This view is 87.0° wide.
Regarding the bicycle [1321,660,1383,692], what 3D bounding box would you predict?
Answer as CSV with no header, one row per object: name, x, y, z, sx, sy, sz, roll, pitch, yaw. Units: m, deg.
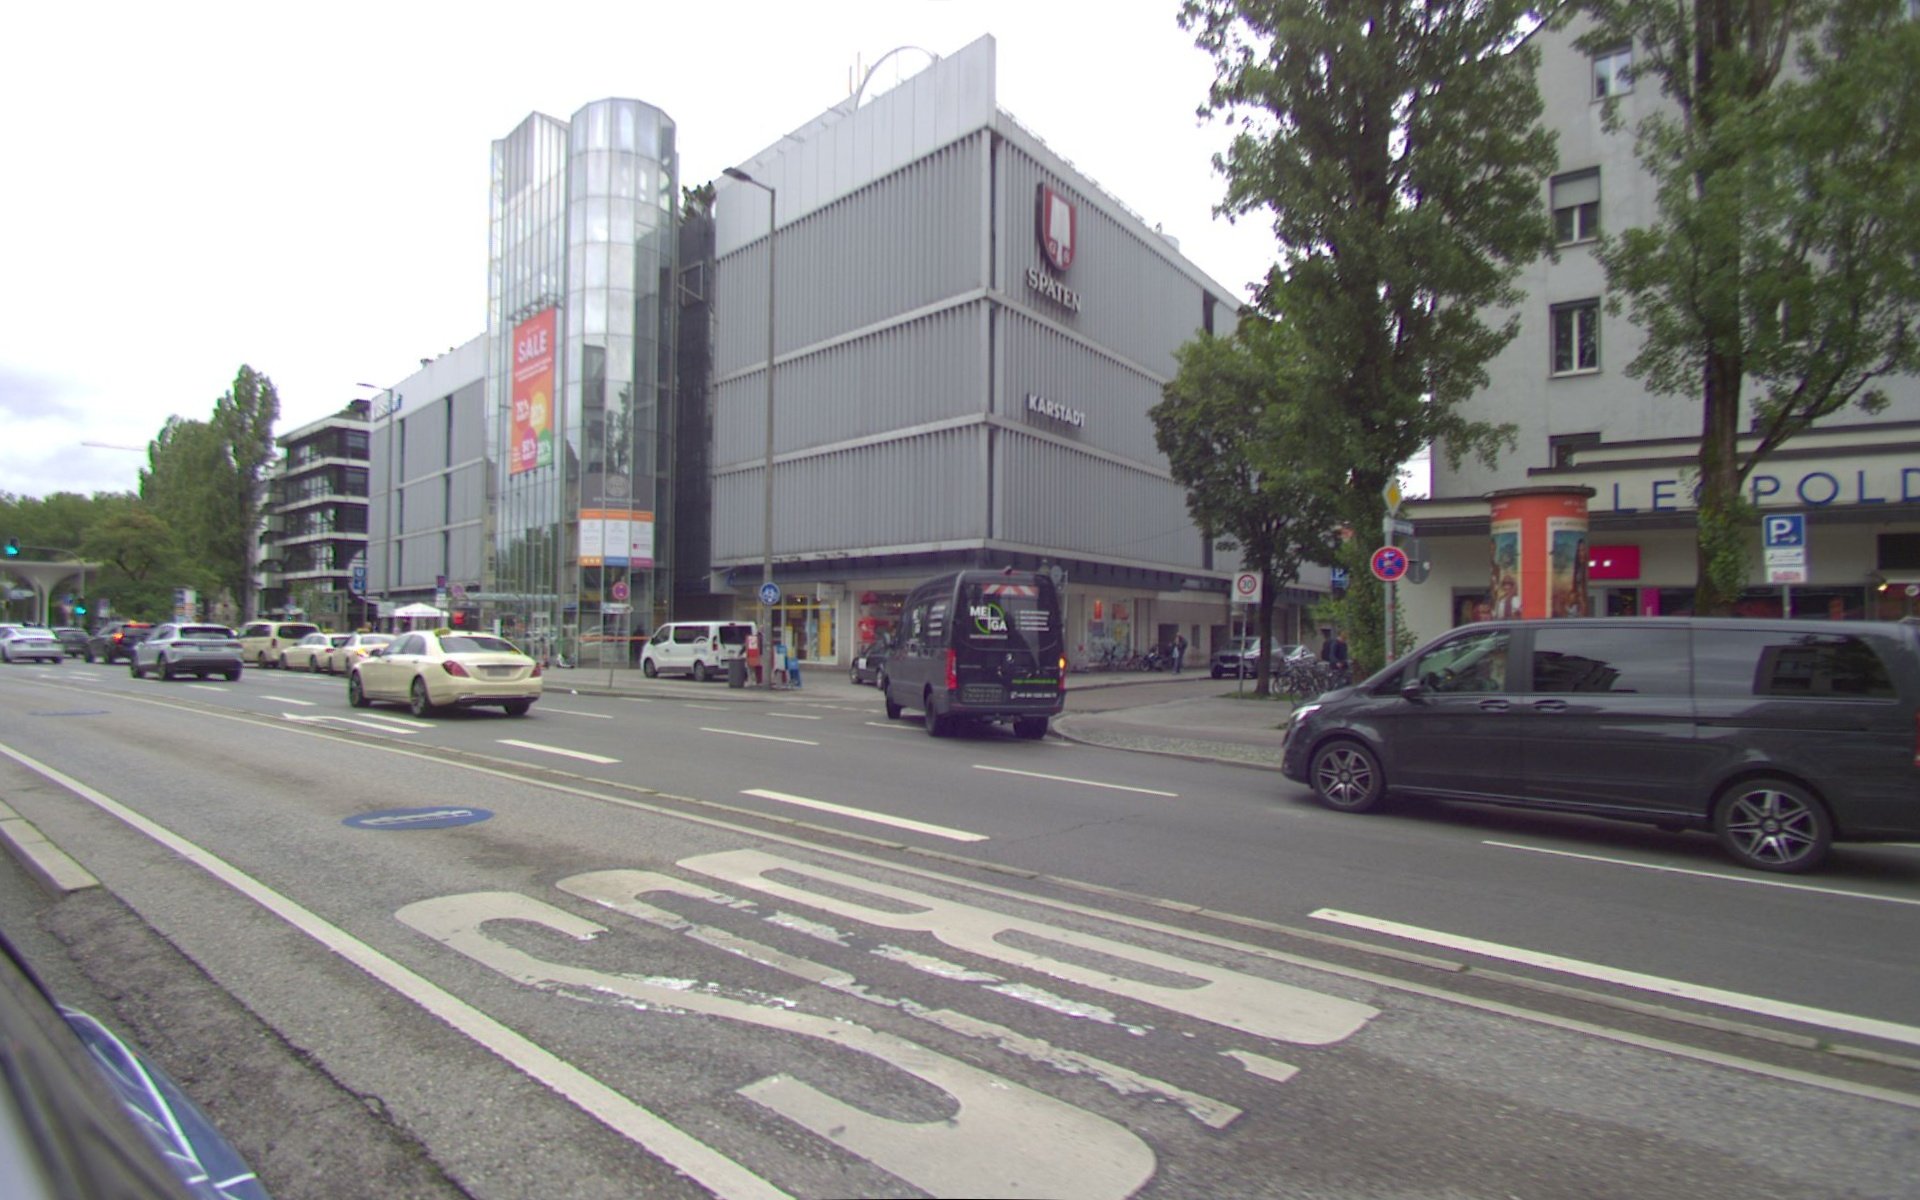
bicycle,13.047,2.521,33.742,1.879,0.971,0.454,-1,-3,40

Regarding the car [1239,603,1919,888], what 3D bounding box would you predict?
car,5.546,1.070,8.978,1.970,1.878,5.715,5,-5,-44

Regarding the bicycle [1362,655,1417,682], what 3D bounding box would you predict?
bicycle,16.419,2.620,38.720,1.879,0.971,0.454,-1,-3,40

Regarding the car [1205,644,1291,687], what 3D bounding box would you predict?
car,11.990,2.668,42.030,1.997,1.674,4.183,-1,-3,38

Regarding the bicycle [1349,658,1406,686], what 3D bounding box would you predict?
bicycle,15.118,2.607,36.685,1.879,0.971,0.454,-1,-3,40

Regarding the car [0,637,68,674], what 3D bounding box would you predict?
car,-38.339,2.225,41.300,4.679,1.405,1.784,-1,-3,35

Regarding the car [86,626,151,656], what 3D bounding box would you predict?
car,-47.691,2.326,57.334,4.464,1.624,1.574,-1,-3,33

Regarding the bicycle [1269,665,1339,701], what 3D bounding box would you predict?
bicycle,9.962,2.388,29.335,1.879,0.971,0.454,-1,-3,40

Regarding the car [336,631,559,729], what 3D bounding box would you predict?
car,-9.700,1.411,18.938,5.194,1.601,1.972,-2,-4,42

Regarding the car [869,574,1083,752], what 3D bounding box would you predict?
car,0.012,1.048,18.115,2.140,2.625,6.081,1,-2,-16

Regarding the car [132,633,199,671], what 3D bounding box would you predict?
car,-37.843,2.479,48.167,4.384,1.711,1.864,-2,-4,44

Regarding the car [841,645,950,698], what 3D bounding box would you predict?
car,-2.030,2.094,30.538,1.895,1.450,4.522,2,-3,-23

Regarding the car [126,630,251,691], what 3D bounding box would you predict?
car,-22.250,1.696,29.133,4.351,1.615,1.890,-1,-3,40

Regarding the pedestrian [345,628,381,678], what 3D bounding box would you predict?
pedestrian,-23.102,2.041,39.153,0.844,1.881,0.780,0,-3,32

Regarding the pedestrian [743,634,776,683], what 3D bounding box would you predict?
pedestrian,-7.781,2.256,39.250,0.852,1.849,0.905,3,-3,-45

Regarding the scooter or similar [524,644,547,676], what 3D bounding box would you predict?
scooter or similar,-16.892,2.389,40.288,0.992,1.233,0.252,-1,-3,27

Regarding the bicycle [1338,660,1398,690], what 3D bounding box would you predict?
bicycle,14.232,2.599,35.330,1.879,0.971,0.454,-1,-3,40

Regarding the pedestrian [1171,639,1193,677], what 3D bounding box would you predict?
pedestrian,9.999,2.586,45.567,0.750,1.685,0.709,-1,-3,31

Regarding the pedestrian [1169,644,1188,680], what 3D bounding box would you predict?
pedestrian,9.254,2.606,42.890,0.612,1.517,0.558,-1,-3,35

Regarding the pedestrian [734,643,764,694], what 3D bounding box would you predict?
pedestrian,-6.260,2.018,30.028,0.654,1.506,0.540,-1,-3,38

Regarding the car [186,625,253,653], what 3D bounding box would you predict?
car,-42.369,2.229,57.889,3.991,1.579,1.890,-1,-3,35

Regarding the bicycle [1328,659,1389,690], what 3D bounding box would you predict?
bicycle,13.544,2.525,34.413,1.879,0.971,0.454,-1,-3,40

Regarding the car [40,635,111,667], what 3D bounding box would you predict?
car,-42.974,2.448,49.138,3.993,1.477,1.767,-1,-3,37

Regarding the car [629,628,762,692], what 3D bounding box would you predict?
car,-9.119,1.989,34.661,5.112,2.029,1.972,-2,-3,43

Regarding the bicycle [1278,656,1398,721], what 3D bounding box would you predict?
bicycle,8.225,1.896,22.089,2.301,1.318,0.838,-1,-3,39

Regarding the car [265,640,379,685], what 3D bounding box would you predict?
car,-24.024,2.287,38.043,5.077,1.564,1.959,-1,-3,37

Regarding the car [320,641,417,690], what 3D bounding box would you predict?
car,-19.823,2.156,33.817,1.834,1.481,4.989,5,-5,-41

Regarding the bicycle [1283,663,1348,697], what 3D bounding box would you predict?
bicycle,11.064,2.476,31.553,1.879,0.971,0.454,-1,-3,40

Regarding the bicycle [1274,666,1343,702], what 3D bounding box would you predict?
bicycle,10.273,2.465,29.850,1.879,0.971,0.454,-1,-3,40

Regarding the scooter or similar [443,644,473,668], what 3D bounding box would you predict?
scooter or similar,-24.199,2.695,48.755,1.368,1.148,0.366,0,-3,15

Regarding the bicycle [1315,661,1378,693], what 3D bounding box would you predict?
bicycle,12.718,2.519,33.343,1.879,0.971,0.454,-1,-3,40

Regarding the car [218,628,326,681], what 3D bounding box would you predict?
car,-28.314,2.191,41.589,5.311,2.029,1.975,-1,-3,37

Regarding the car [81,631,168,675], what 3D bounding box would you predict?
car,-35.528,2.209,42.983,4.979,1.729,1.997,-2,-3,41

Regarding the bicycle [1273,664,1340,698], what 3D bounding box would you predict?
bicycle,10.574,2.472,30.930,1.879,0.971,0.454,-1,-3,40

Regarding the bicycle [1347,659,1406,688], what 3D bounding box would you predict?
bicycle,14.839,2.603,36.096,1.879,0.971,0.454,-1,-3,40

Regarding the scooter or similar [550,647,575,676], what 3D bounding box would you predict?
scooter or similar,-16.082,2.485,40.959,0.990,1.182,0.253,0,-2,20

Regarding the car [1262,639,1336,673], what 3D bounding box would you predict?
car,15.867,2.579,47.304,1.997,1.516,4.183,-1,-3,38

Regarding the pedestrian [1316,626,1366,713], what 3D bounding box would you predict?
pedestrian,8.620,1.565,22.899,0.832,1.913,0.849,-2,-3,40

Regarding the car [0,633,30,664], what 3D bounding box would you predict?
car,-51.493,2.595,54.195,3.997,1.602,1.933,-1,-3,40

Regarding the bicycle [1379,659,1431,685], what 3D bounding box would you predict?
bicycle,18.079,2.917,41.133,1.879,0.971,0.454,-1,-3,40
